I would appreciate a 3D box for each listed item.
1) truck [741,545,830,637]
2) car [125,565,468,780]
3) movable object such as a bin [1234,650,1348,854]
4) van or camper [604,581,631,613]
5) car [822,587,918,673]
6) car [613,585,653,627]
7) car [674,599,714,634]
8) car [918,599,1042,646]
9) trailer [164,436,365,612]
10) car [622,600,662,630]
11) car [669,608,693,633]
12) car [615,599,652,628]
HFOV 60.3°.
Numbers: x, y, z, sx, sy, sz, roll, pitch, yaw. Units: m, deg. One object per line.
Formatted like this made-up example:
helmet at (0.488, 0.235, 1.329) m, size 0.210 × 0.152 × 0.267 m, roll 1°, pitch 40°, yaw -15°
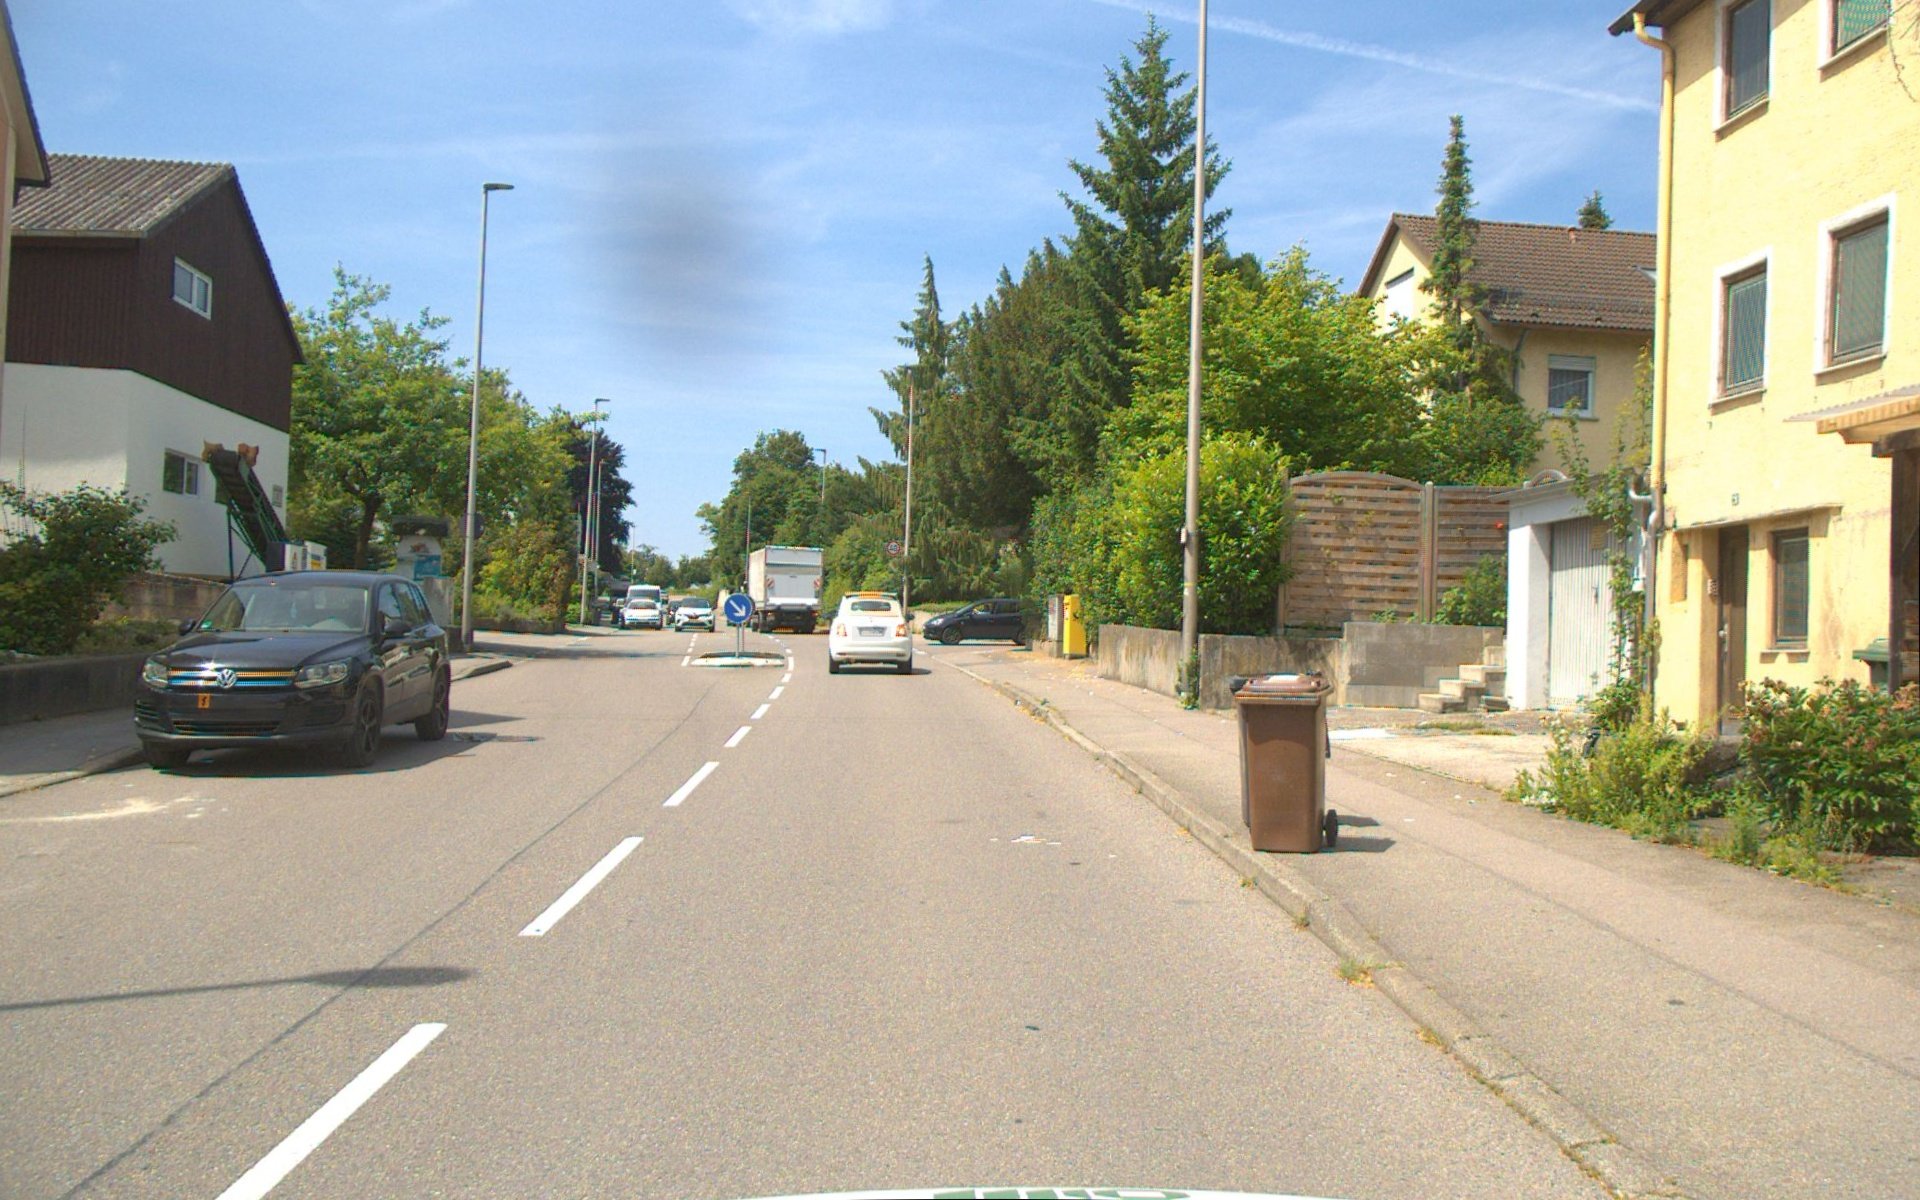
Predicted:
truck at (-7.915, -0.354, 74.052) m, size 3.015 × 3.840 × 7.841 m, roll 1°, pitch -1°, yaw -13°
car at (-5.798, 0.554, 15.028) m, size 1.734 × 1.664 × 4.282 m, roll 0°, pitch 0°, yaw -6°
movable object such as a bin at (1.815, 0.820, 9.052) m, size 0.484 × 1.051 × 0.548 m, roll -3°, pitch 0°, yaw 21°
van or camper at (-34.141, -0.305, 165.112) m, size 2.223 × 3.014 × 5.876 m, roll 2°, pitch 0°, yaw -9°
car at (-1.835, 0.562, 32.807) m, size 1.691 × 1.587 × 3.995 m, roll 1°, pitch 0°, yaw -6°
car at (-18.050, 0.336, 91.128) m, size 2.002 × 2.238 × 5.564 m, roll 1°, pitch 0°, yaw -13°
car at (-12.287, 0.760, 76.552) m, size 1.750 × 1.556 × 4.162 m, roll 0°, pitch -1°, yaw -8°
car at (0.624, 0.722, 53.808) m, size 3.859 × 1.483 × 1.656 m, roll 1°, pitch 0°, yaw -7°
trailer at (-12.755, -1.275, 30.795) m, size 1.679 × 2.898 × 6.165 m, roll 2°, pitch 0°, yaw -6°
car at (-15.453, 0.722, 80.186) m, size 1.773 × 1.422 × 3.987 m, roll 1°, pitch 0°, yaw -13°
car at (-17.447, 1.263, 103.349) m, size 1.453 × 1.537 × 2.794 m, roll 0°, pitch 0°, yaw -10°
car at (-16.911, 0.698, 85.590) m, size 1.773 × 1.422 × 3.955 m, roll 1°, pitch 0°, yaw -13°
